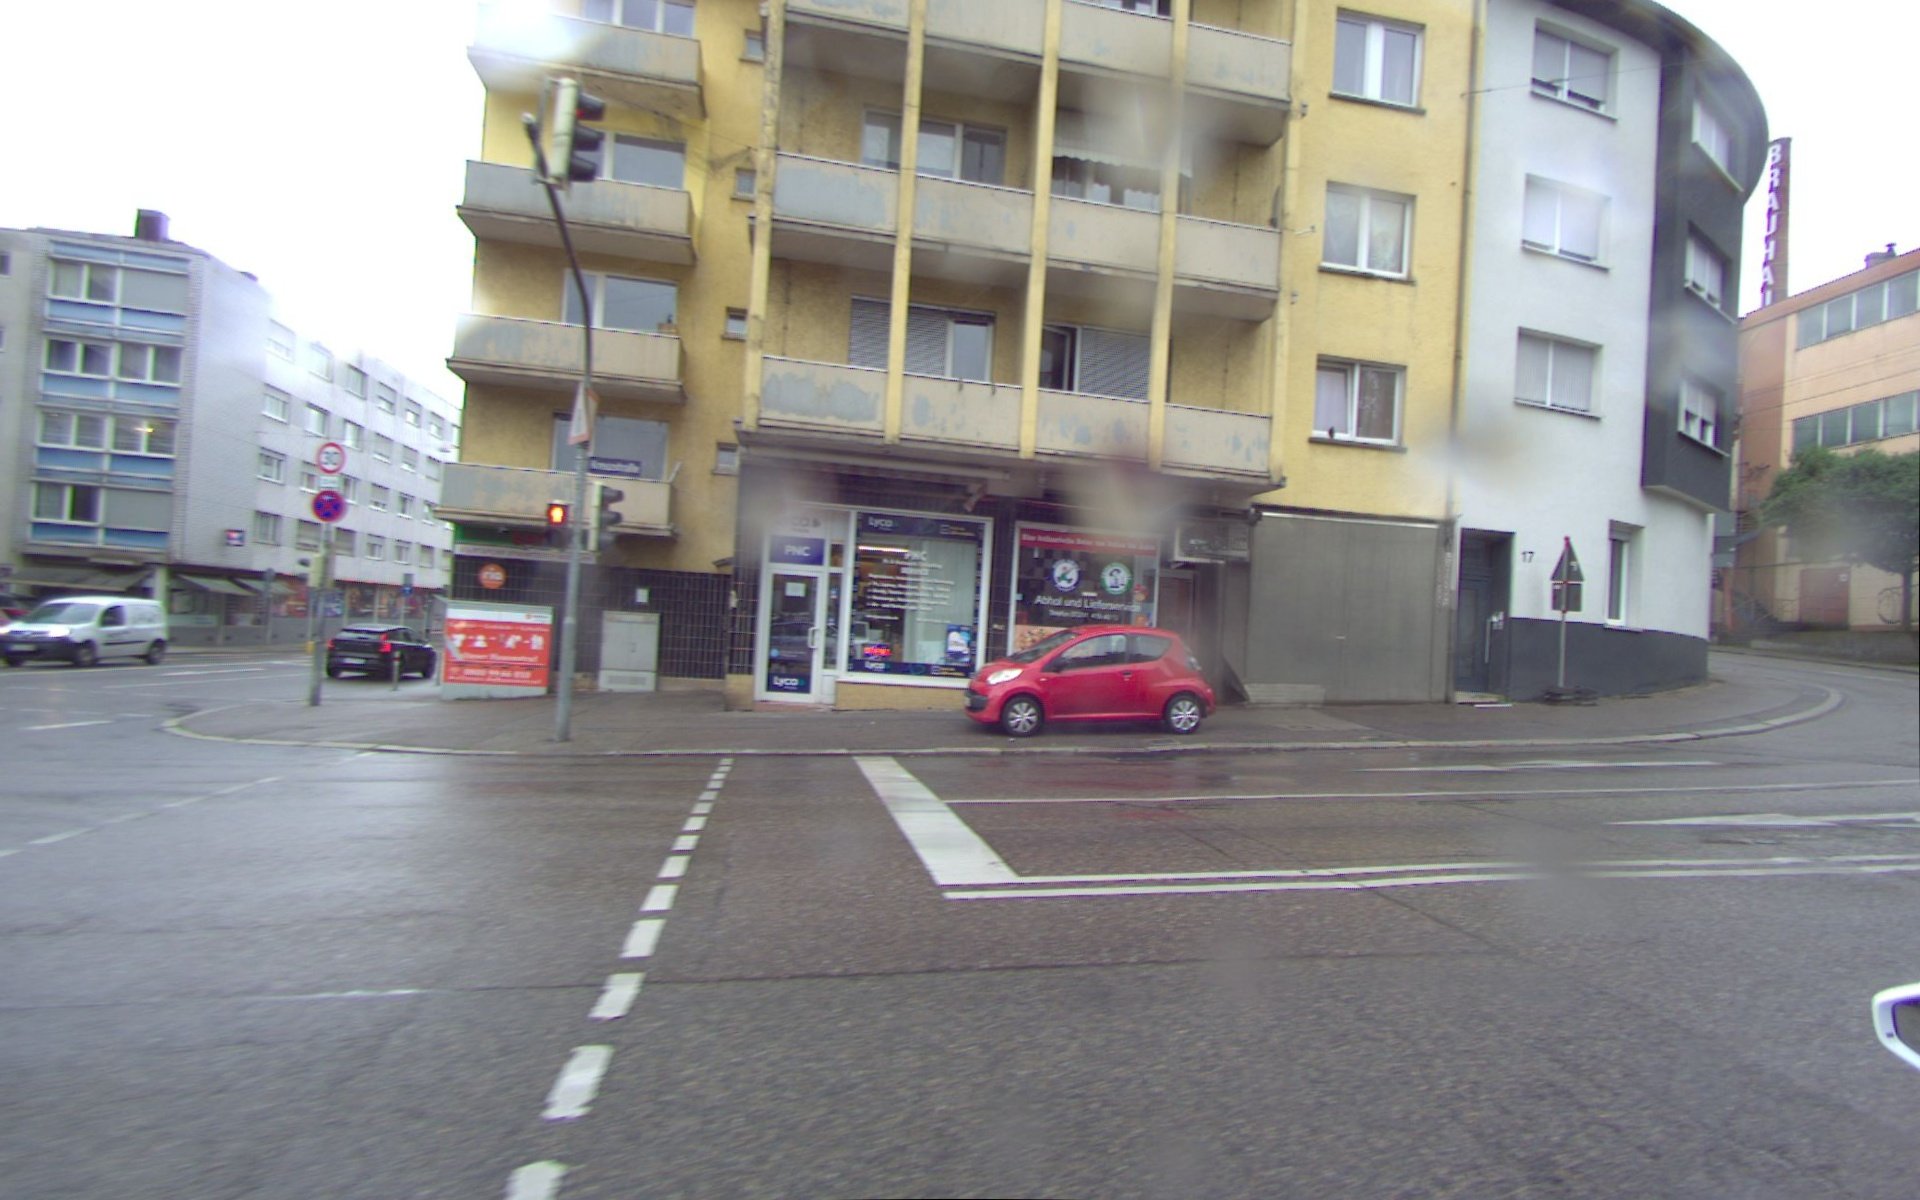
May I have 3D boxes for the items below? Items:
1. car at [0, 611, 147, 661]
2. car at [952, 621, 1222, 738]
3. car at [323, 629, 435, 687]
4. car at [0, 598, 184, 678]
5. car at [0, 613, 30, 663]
[{"bbox_3d":[-29.076,1.183,32.951,1.692,1.445,3.890,4,-2,-4],"label":"car"},{"bbox_3d":[1.742,1.098,14.306,3.471,1.484,1.612,1,1,-10],"label":"car"},{"bbox_3d":[-16.838,1.641,29.298,1.770,1.530,3.988,2,-2,-15],"label":"car"},{"bbox_3d":[-22.900,0.992,26.407,1.954,1.879,4.227,2,-2,-7],"label":"car"},{"bbox_3d":[-28.928,1.030,28.405,1.692,1.445,3.890,4,-2,-4],"label":"car"}]
